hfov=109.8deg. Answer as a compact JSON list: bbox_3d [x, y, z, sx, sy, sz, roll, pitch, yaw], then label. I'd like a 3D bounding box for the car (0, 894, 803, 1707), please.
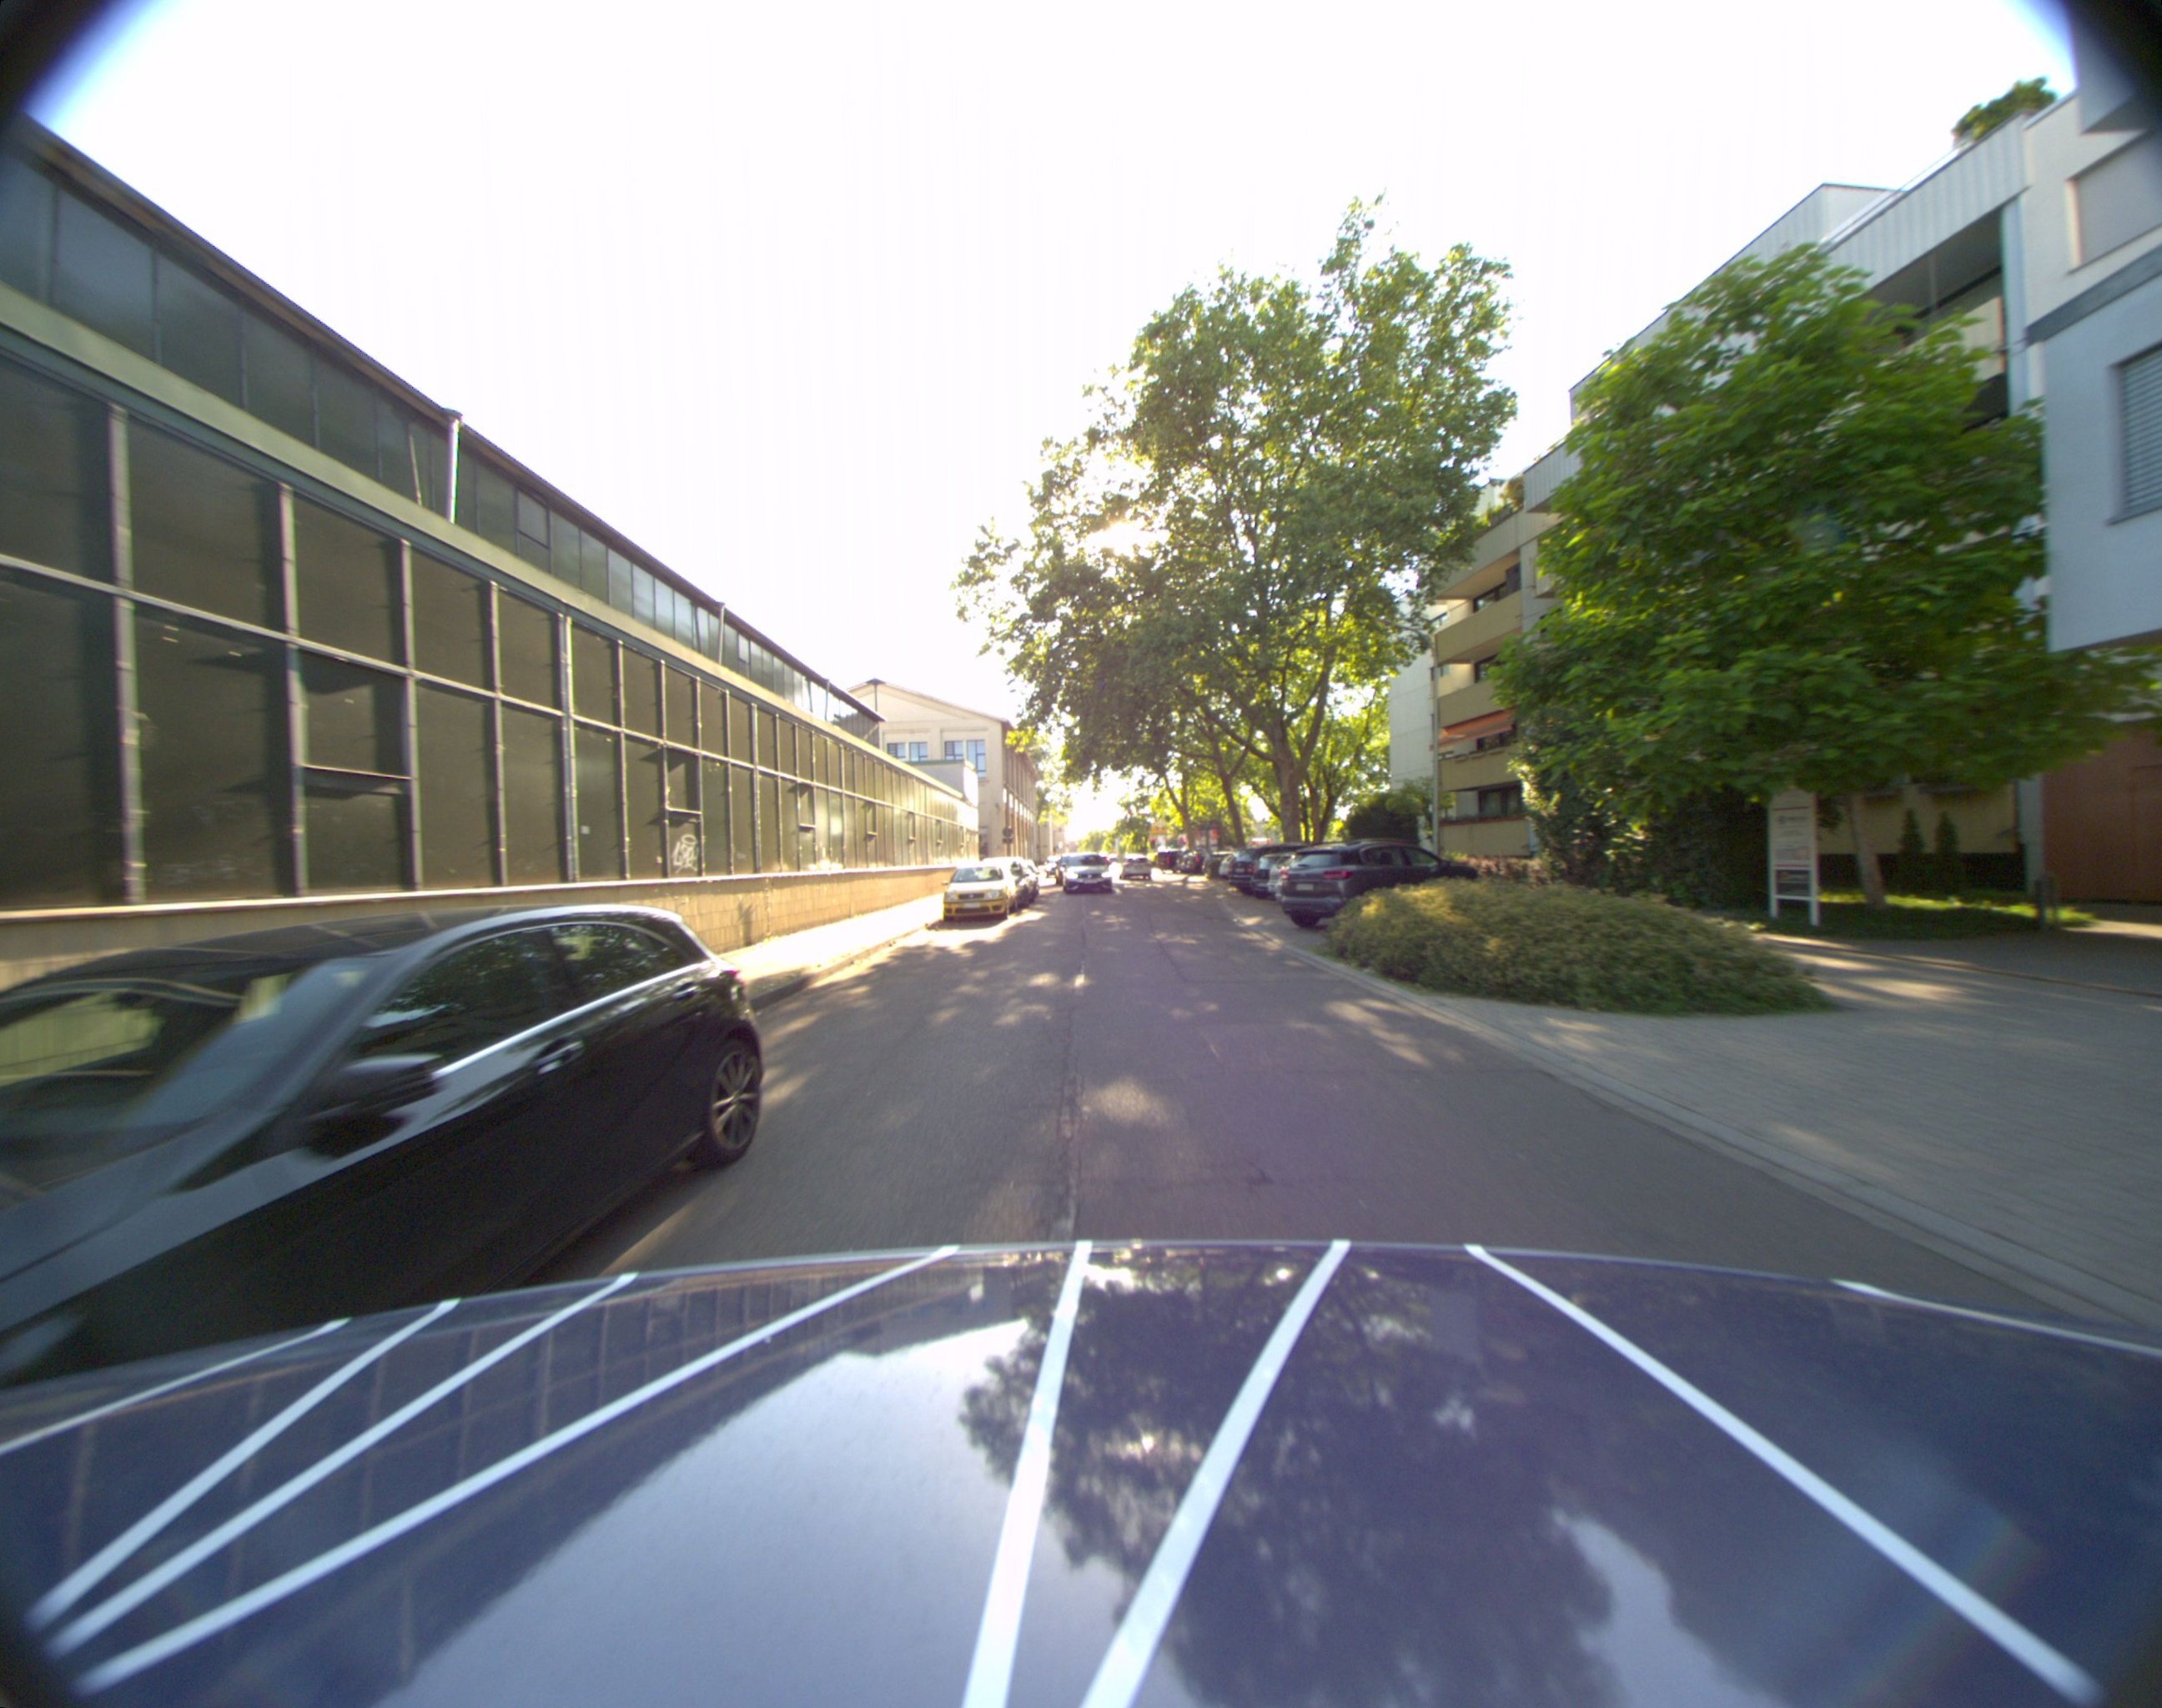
[{"bbox_3d":[-2.739,1.080,2.525,1.755,1.482,4.621,-4,1,1],"label":"car"}]

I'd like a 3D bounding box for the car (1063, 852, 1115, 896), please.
[{"bbox_3d":[0.267,0.765,31.112,1.854,1.527,3.856,-4,1,-2],"label":"car"}]

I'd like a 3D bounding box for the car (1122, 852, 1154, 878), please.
[{"bbox_3d":[3.562,0.625,47.538,1.904,1.527,4.622,0,0,4],"label":"car"}]

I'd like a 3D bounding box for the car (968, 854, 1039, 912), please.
[{"bbox_3d":[-2.453,0.876,25.008,1.755,1.625,4.308,-3,1,0],"label":"car"}]

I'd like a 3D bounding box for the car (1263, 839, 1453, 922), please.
[{"bbox_3d":[6.666,0.568,18.265,4.144,1.631,1.774,-3,1,-23],"label":"car"}]

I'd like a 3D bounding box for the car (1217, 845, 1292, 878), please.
[{"bbox_3d":[9.432,0.379,41.259,3.654,1.552,1.706,-3,1,-26],"label":"car"}]

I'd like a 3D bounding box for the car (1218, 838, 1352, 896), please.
[{"bbox_3d":[7.251,0.431,27.058,4.273,1.765,1.903,-3,1,-22],"label":"car"}]

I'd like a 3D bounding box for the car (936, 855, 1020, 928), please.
[{"bbox_3d":[-2.668,0.911,20.495,1.755,1.625,4.000,-3,1,-2],"label":"car"}]

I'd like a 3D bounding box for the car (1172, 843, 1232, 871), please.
[{"bbox_3d":[9.204,0.241,57.767,4.002,1.871,1.831,-3,1,-15],"label":"car"}]

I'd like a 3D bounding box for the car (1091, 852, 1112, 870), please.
[{"bbox_3d":[2.031,0.655,75.414,1.965,1.633,3.999,-3,1,1],"label":"car"}]

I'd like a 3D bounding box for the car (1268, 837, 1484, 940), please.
[{"bbox_3d":[5.861,0.609,15.034,3.965,1.653,1.696,-3,1,-27],"label":"car"}]

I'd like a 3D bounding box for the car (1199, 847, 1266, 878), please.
[{"bbox_3d":[9.194,0.493,46.197,3.654,1.652,1.647,-3,1,-25],"label":"car"}]

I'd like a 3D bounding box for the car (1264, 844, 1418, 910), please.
[{"bbox_3d":[7.212,0.591,21.194,3.650,1.552,1.698,-3,1,-10],"label":"car"}]

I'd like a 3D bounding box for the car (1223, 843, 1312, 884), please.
[{"bbox_3d":[8.695,0.419,35.472,3.652,1.652,1.647,-3,1,-17],"label":"car"}]

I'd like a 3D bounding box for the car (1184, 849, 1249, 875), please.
[{"bbox_3d":[9.386,0.519,52.577,4.001,1.615,1.796,-2,1,-14],"label":"car"}]

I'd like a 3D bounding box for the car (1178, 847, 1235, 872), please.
[{"bbox_3d":[9.068,0.382,54.918,3.602,1.552,1.647,-3,1,-17],"label":"car"}]

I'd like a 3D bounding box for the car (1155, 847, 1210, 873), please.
[{"bbox_3d":[8.056,0.460,60.326,4.004,1.875,1.713,-3,1,-26],"label":"car"}]

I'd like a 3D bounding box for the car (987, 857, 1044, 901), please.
[{"bbox_3d":[-2.530,0.927,30.390,1.905,1.485,4.528,-3,1,-2],"label":"car"}]

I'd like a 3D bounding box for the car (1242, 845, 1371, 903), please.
[{"bbox_3d":[7.201,0.594,24.236,3.654,1.552,1.697,-3,1,-24],"label":"car"}]
